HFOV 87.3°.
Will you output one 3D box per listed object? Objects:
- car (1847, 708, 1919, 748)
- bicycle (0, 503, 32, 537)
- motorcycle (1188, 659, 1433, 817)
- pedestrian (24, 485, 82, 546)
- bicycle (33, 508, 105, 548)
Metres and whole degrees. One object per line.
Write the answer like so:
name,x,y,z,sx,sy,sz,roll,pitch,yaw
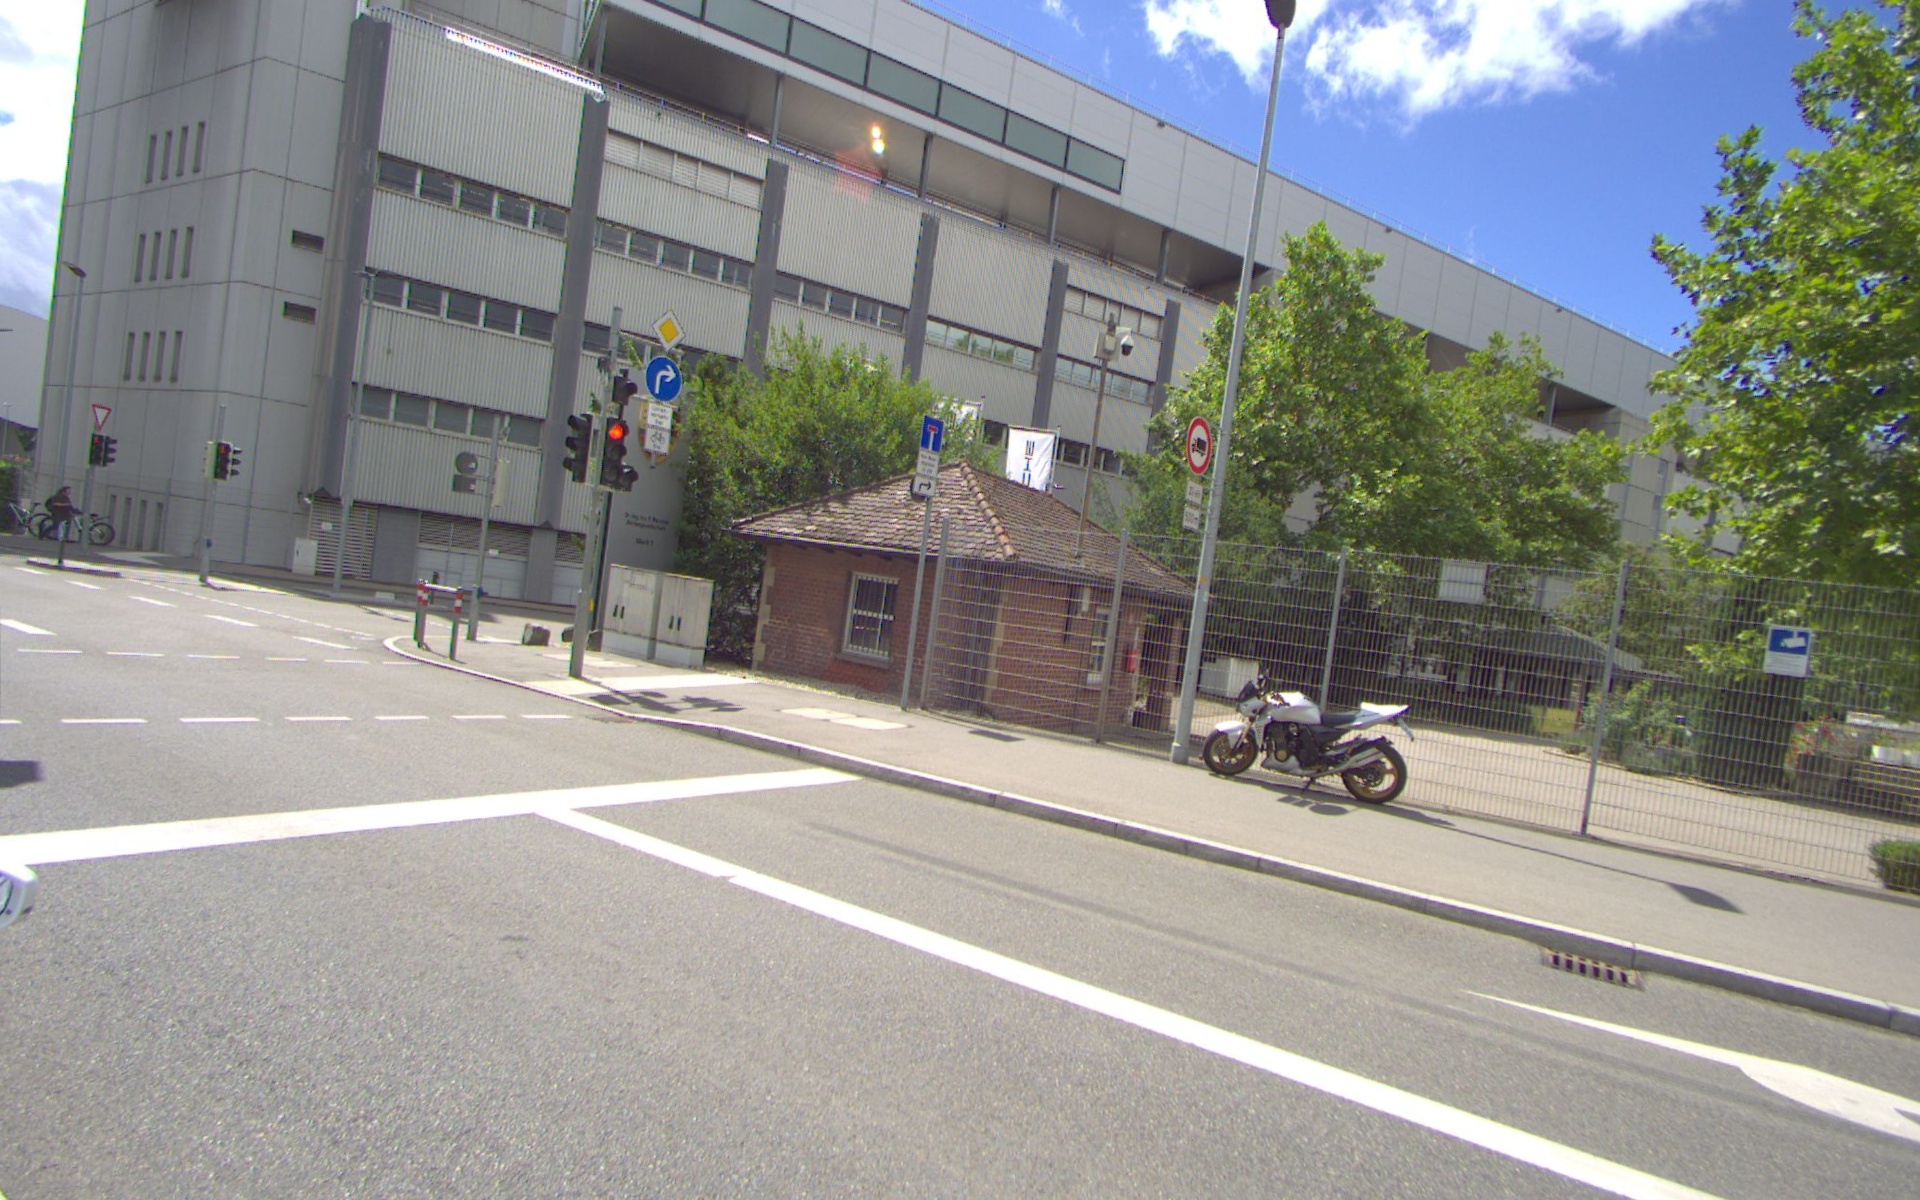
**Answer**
car,53.055,7.287,56.786,1.979,1.803,3.971,8,-2,-30
bicycle,-29.674,-2.533,31.072,1.891,0.948,0.399,7,0,13
motorcycle,3.457,1.309,9.987,2.110,1.173,0.693,7,2,27
pedestrian,-27.229,-2.515,30.223,0.837,1.644,0.953,7,0,-17
bicycle,-27.249,-2.199,30.757,1.892,0.948,0.399,7,0,6
